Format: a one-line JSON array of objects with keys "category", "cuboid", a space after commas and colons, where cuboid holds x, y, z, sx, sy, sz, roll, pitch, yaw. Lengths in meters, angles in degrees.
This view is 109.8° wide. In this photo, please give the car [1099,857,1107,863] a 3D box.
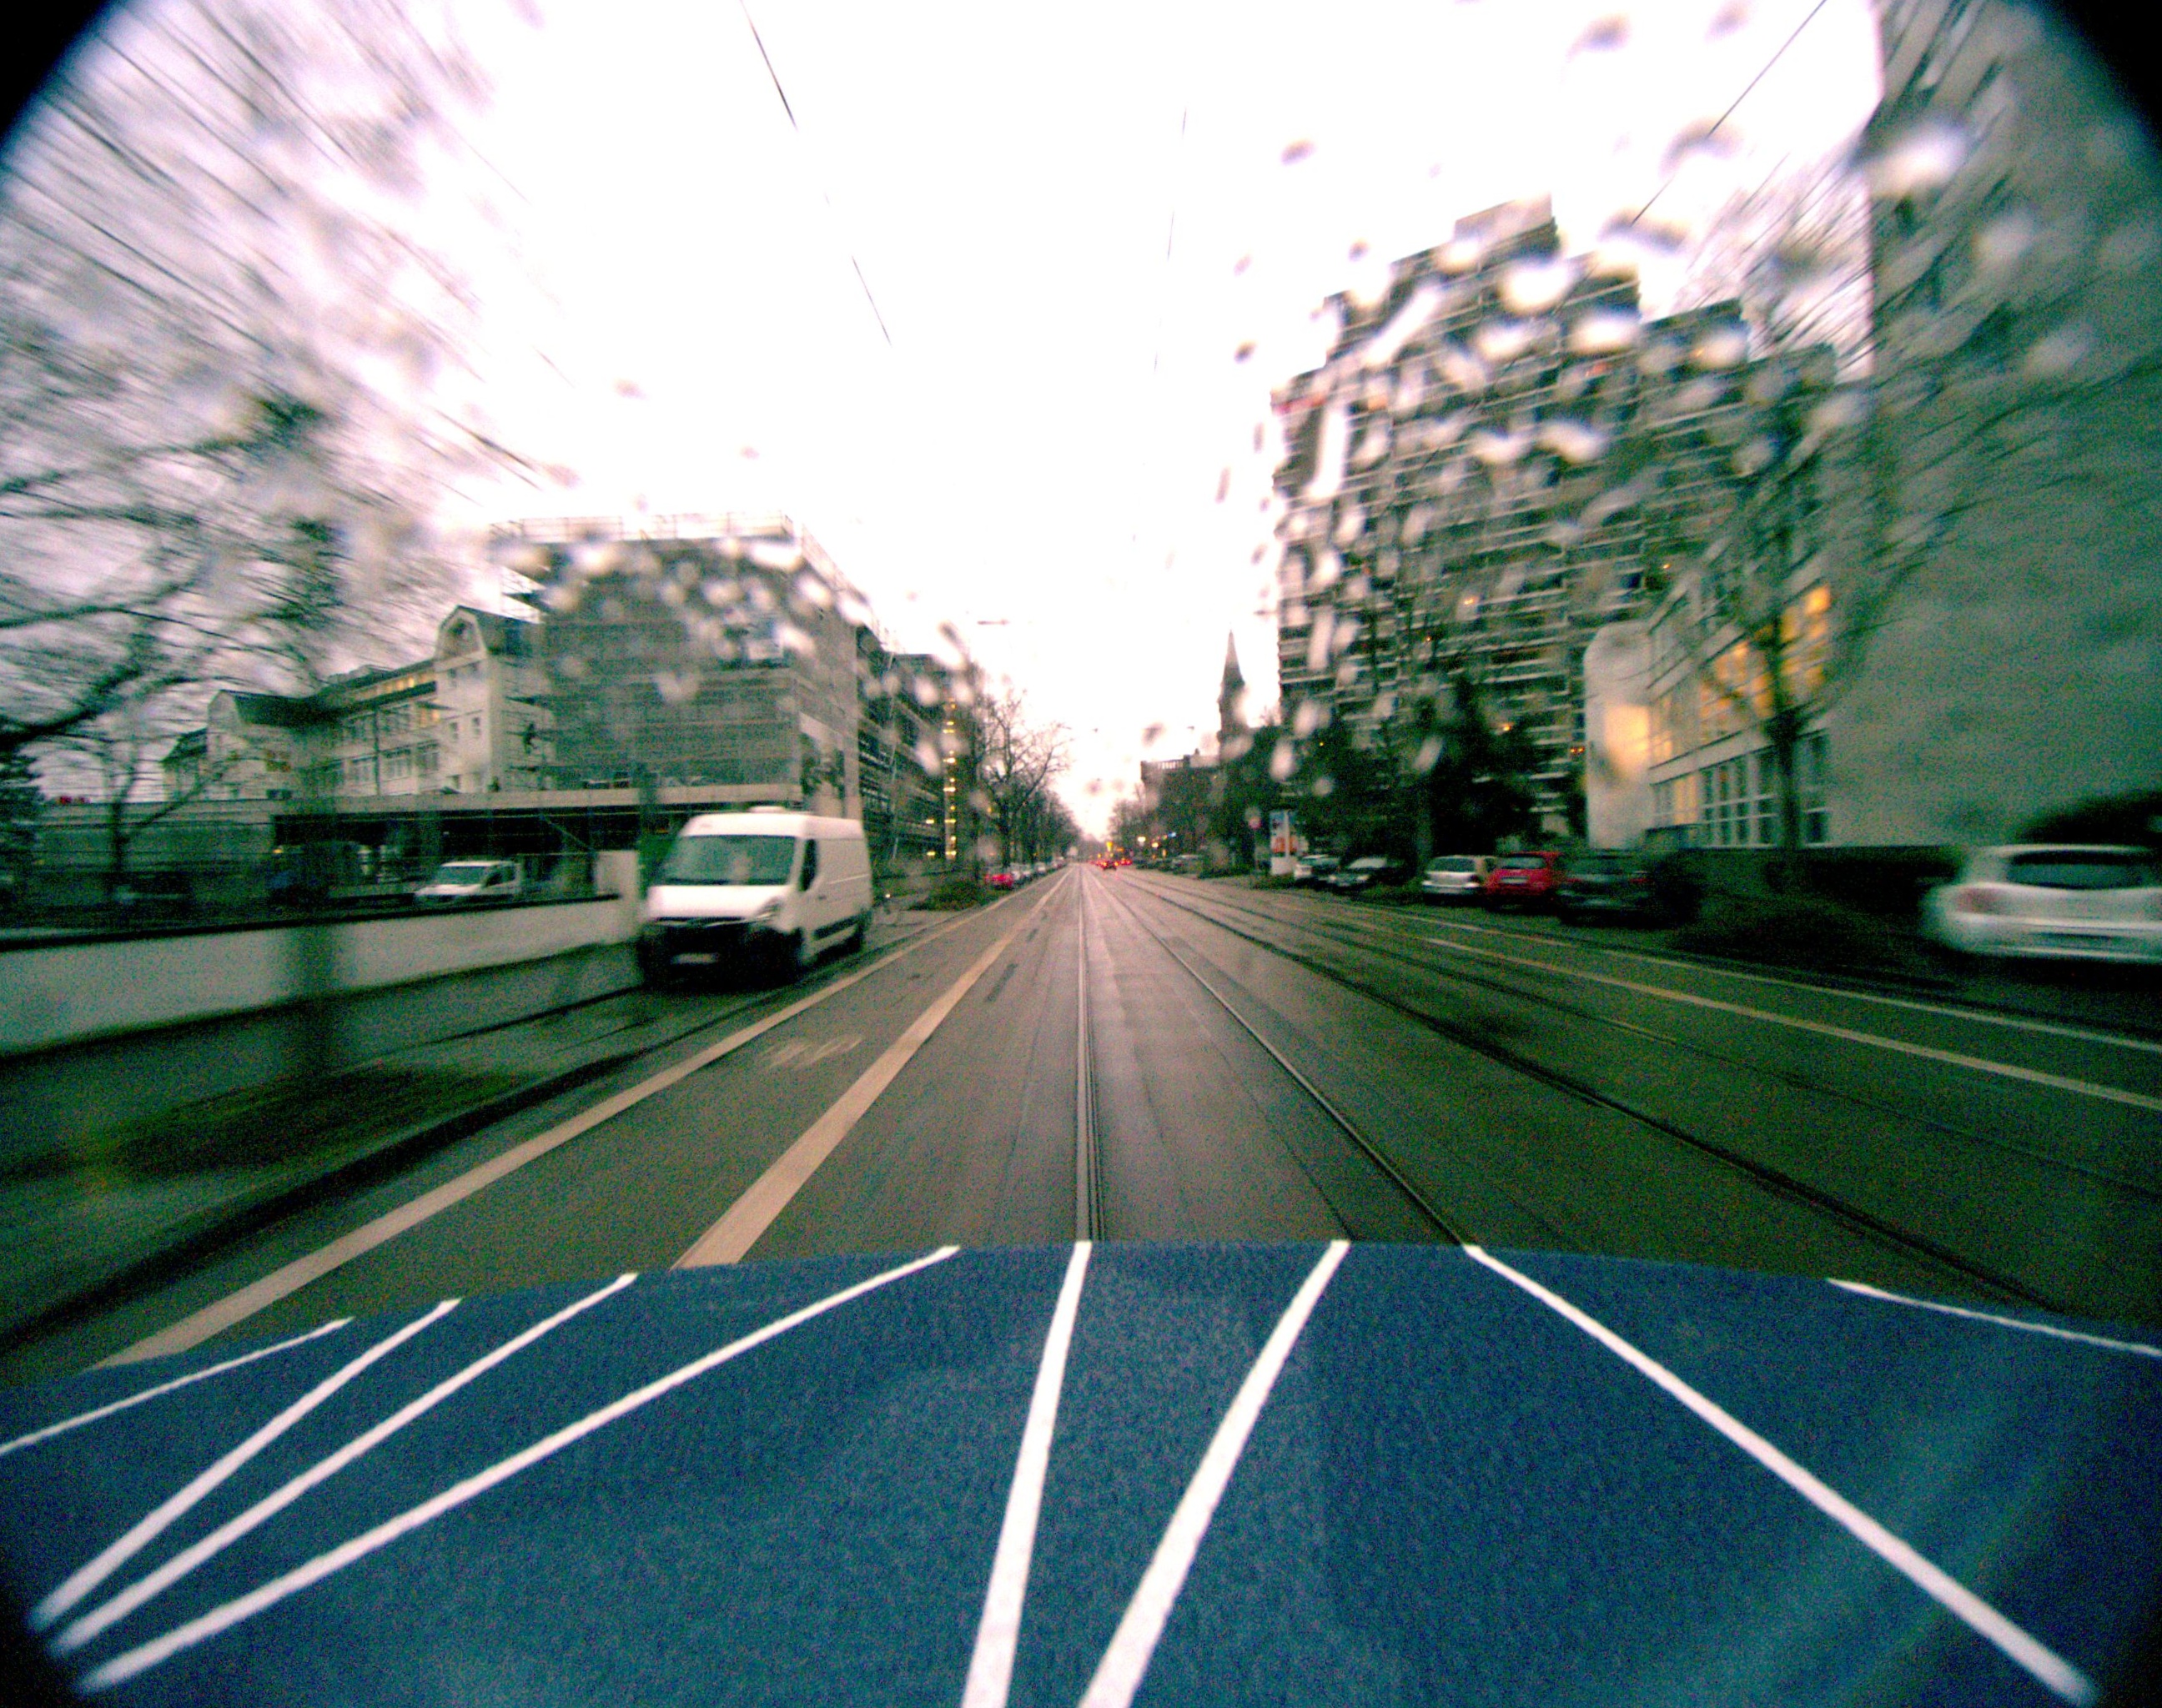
[{"category": "car", "cuboid": [5.162, 1.510, 180.628, 1.765, 1.402, 4.000, -1, -1, 0]}]

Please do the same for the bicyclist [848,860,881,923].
[{"category": "bicyclist", "cuboid": [-5.902, 1.009, 20.764, 0.771, 1.679, 0.706, -1, 0, -12]}]

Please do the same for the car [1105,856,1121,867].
[{"category": "car", "cuboid": [4.459, 1.085, 107.268, 1.752, 1.535, 4.294, -1, -1, -4]}]

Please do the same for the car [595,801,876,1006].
[{"category": "car", "cuboid": [-4.958, 0.639, 12.028, 2.130, 2.472, 5.438, -1, -1, -2]}]

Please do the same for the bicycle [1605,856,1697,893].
[{"category": "bicycle", "cuboid": [17.767, 0.642, 23.756, 2.200, 1.114, 0.643, -1, 0, 23]}]

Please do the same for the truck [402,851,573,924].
[{"category": "truck", "cuboid": [-24.056, 1.201, 31.330, 2.132, 2.573, 7.075, -1, 1, -7]}]

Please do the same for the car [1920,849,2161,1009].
[{"category": "car", "cuboid": [11.442, 0.737, 9.099, 3.885, 1.542, 1.688, 0, -1, -45]}]

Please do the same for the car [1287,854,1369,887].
[{"category": "car", "cuboid": [11.521, 0.744, 35.314, 4.008, 1.391, 1.851, 0, -1, -42]}]

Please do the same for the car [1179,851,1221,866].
[{"category": "car", "cuboid": [11.926, 0.471, 76.297, 3.995, 1.477, 1.673, -1, -1, 6]}]

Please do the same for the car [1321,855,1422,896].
[{"category": "car", "cuboid": [10.812, 0.760, 28.184, 4.008, 1.370, 1.851, 0, -1, -42]}]

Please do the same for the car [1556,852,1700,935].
[{"category": "car", "cuboid": [11.257, 0.725, 15.541, 3.862, 1.484, 1.691, 0, -1, -44]}]

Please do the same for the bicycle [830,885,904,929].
[{"category": "bicycle", "cuboid": [-5.816, 1.431, 20.776, 1.894, 1.126, 0.730, -1, 0, -12]}]

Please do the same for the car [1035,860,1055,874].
[{"category": "car", "cuboid": [-3.987, 1.451, 85.402, 1.866, 1.584, 4.001, -1, -1, 2]}]

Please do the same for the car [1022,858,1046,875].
[{"category": "car", "cuboid": [-4.592, 1.220, 74.371, 1.866, 1.584, 4.001, -1, -1, 2]}]

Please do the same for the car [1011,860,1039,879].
[{"category": "car", "cuboid": [-4.765, 1.308, 65.260, 1.866, 1.584, 4.001, -1, -1, 2]}]

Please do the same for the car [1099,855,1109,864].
[{"category": "car", "cuboid": [4.179, 1.042, 137.508, 1.711, 1.569, 4.379, -1, -1, 0]}]

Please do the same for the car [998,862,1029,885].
[{"category": "car", "cuboid": [-4.779, 1.359, 54.593, 1.753, 1.574, 3.737, -1, -1, 2]}]

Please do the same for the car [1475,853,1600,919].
[{"category": "car", "cuboid": [11.550, 0.749, 19.145, 3.458, 1.484, 1.725, 0, -1, -42]}]

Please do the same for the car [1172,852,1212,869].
[{"category": "car", "cuboid": [11.554, 0.683, 79.366, 3.995, 1.630, 2.001, -1, -1, 6]}]

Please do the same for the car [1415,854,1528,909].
[{"category": "car", "cuboid": [11.380, 0.747, 22.030, 1.788, 1.437, 4.008, -2, -1, 44]}]

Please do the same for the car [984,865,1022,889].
[{"category": "car", "cuboid": [-4.645, 1.347, 45.559, 1.753, 1.379, 3.737, -1, -1, 2]}]

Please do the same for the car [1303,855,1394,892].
[{"category": "car", "cuboid": [11.300, 0.780, 31.987, 4.008, 1.454, 1.851, 0, -1, -42]}]

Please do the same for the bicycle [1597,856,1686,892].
[{"category": "bicycle", "cuboid": [18.138, 0.645, 24.640, 2.200, 1.114, 0.643, -1, 0, 23]}]

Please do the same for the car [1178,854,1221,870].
[{"category": "car", "cuboid": [11.261, 0.775, 72.460, 3.995, 1.477, 1.673, -1, -1, 6]}]
